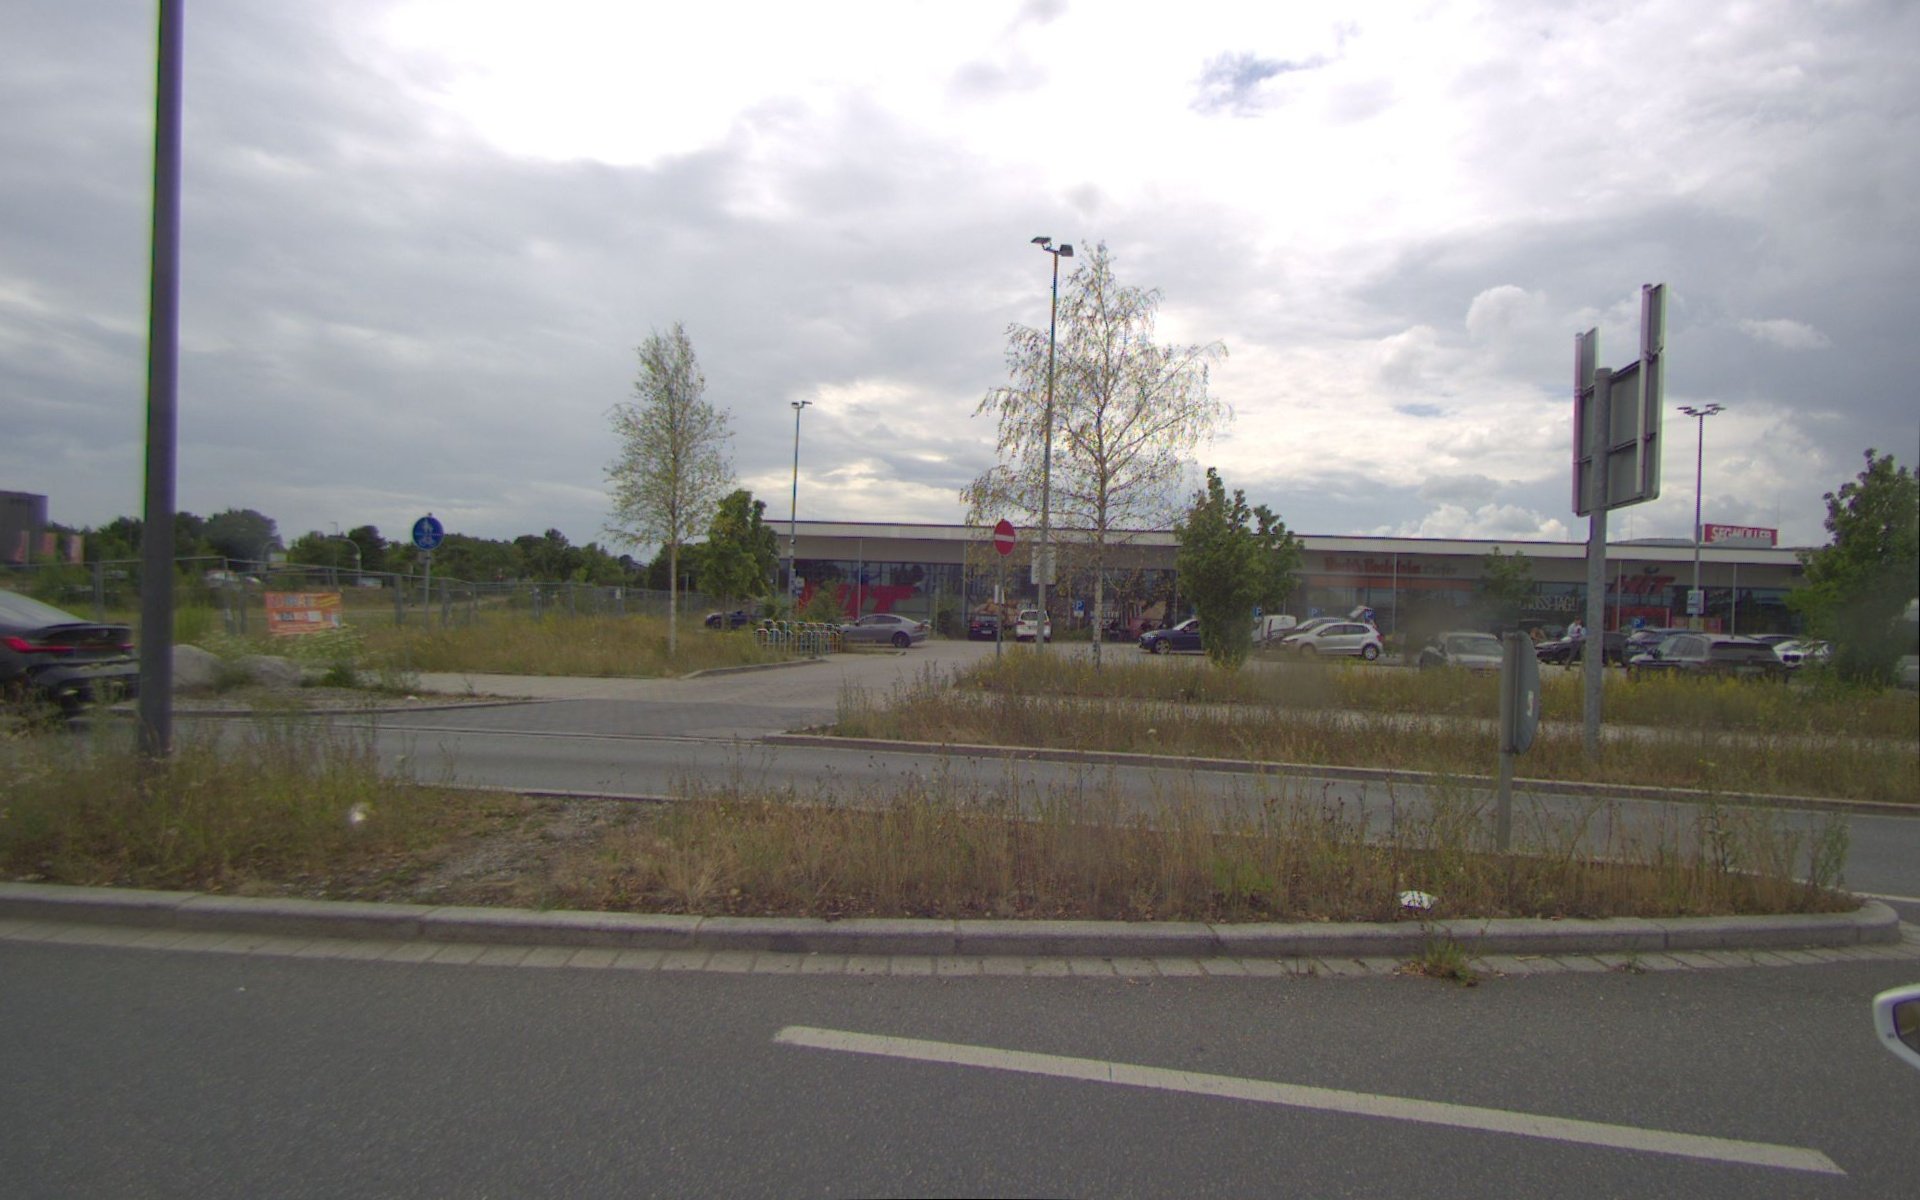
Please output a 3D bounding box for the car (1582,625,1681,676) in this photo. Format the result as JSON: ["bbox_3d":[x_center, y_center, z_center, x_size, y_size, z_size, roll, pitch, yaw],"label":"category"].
[{"bbox_3d":[25.204,1.839,37.847,1.783,1.675,4.002,2,0,14],"label":"car"}]

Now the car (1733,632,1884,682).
[{"bbox_3d":[32.698,2.177,38.830,3.919,1.639,2.001,2,0,14],"label":"car"}]

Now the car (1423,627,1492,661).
[{"bbox_3d":[25.845,2.238,52.299,1.959,1.528,4.002,3,0,7],"label":"car"}]

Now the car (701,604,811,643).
[{"bbox_3d":[-10.052,1.156,49.816,4.925,1.578,2.000,3,0,1],"label":"car"}]

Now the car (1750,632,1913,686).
[{"bbox_3d":[31.482,2.087,36.403,3.919,1.639,2.001,2,0,14],"label":"car"}]

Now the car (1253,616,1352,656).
[{"bbox_3d":[14.647,1.509,43.075,3.683,1.473,1.668,3,0,5],"label":"car"}]

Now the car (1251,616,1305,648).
[{"bbox_3d":[16.744,1.650,53.058,1.959,1.528,4.002,2,0,7],"label":"car"}]

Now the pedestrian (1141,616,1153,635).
[{"bbox_3d":[11.590,1.573,62.222,0.566,1.139,0.562,2,0,2],"label":"pedestrian"}]

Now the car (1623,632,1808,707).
[{"bbox_3d":[17.778,1.560,23.911,1.955,1.470,4.152,3,-1,13],"label":"car"}]

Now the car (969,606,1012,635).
[{"bbox_3d":[1.699,1.082,54.196,1.874,1.463,4.002,2,0,8],"label":"car"}]

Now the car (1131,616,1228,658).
[{"bbox_3d":[8.763,1.472,40.306,3.546,1.473,1.668,3,0,4],"label":"car"}]

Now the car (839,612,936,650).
[{"bbox_3d":[-3.119,1.339,43.720,3.920,1.369,2.001,3,0,3],"label":"car"}]

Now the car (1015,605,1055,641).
[{"bbox_3d":[4.093,1.214,54.095,1.793,1.723,4.236,3,1,8],"label":"car"}]

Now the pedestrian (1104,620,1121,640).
[{"bbox_3d":[9.547,1.848,62.912,0.954,1.170,1.133,3,0,4],"label":"pedestrian"}]

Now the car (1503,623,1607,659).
[{"bbox_3d":[29.544,2.002,49.982,3.919,1.528,2.001,3,0,7],"label":"car"}]

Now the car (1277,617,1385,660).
[{"bbox_3d":[14.701,1.521,39.983,3.683,1.473,1.668,3,0,5],"label":"car"}]

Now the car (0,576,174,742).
[{"bbox_3d":[-10.658,0.473,9.641,4.530,1.465,1.781,2,1,-12],"label":"car"}]

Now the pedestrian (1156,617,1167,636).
[{"bbox_3d":[12.256,1.599,61.112,0.566,1.139,0.562,2,0,2],"label":"pedestrian"}]

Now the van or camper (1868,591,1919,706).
[{"bbox_3d":[22.168,1.119,21.708,2.245,2.525,4.001,3,-1,19],"label":"van or camper"}]

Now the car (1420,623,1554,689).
[{"bbox_3d":[13.173,1.348,25.384,1.955,1.402,4.152,3,-1,13],"label":"car"}]

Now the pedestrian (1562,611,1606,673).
[{"bbox_3d":[21.301,1.411,34.310,0.983,2.040,0.868,3,0,13],"label":"pedestrian"}]
